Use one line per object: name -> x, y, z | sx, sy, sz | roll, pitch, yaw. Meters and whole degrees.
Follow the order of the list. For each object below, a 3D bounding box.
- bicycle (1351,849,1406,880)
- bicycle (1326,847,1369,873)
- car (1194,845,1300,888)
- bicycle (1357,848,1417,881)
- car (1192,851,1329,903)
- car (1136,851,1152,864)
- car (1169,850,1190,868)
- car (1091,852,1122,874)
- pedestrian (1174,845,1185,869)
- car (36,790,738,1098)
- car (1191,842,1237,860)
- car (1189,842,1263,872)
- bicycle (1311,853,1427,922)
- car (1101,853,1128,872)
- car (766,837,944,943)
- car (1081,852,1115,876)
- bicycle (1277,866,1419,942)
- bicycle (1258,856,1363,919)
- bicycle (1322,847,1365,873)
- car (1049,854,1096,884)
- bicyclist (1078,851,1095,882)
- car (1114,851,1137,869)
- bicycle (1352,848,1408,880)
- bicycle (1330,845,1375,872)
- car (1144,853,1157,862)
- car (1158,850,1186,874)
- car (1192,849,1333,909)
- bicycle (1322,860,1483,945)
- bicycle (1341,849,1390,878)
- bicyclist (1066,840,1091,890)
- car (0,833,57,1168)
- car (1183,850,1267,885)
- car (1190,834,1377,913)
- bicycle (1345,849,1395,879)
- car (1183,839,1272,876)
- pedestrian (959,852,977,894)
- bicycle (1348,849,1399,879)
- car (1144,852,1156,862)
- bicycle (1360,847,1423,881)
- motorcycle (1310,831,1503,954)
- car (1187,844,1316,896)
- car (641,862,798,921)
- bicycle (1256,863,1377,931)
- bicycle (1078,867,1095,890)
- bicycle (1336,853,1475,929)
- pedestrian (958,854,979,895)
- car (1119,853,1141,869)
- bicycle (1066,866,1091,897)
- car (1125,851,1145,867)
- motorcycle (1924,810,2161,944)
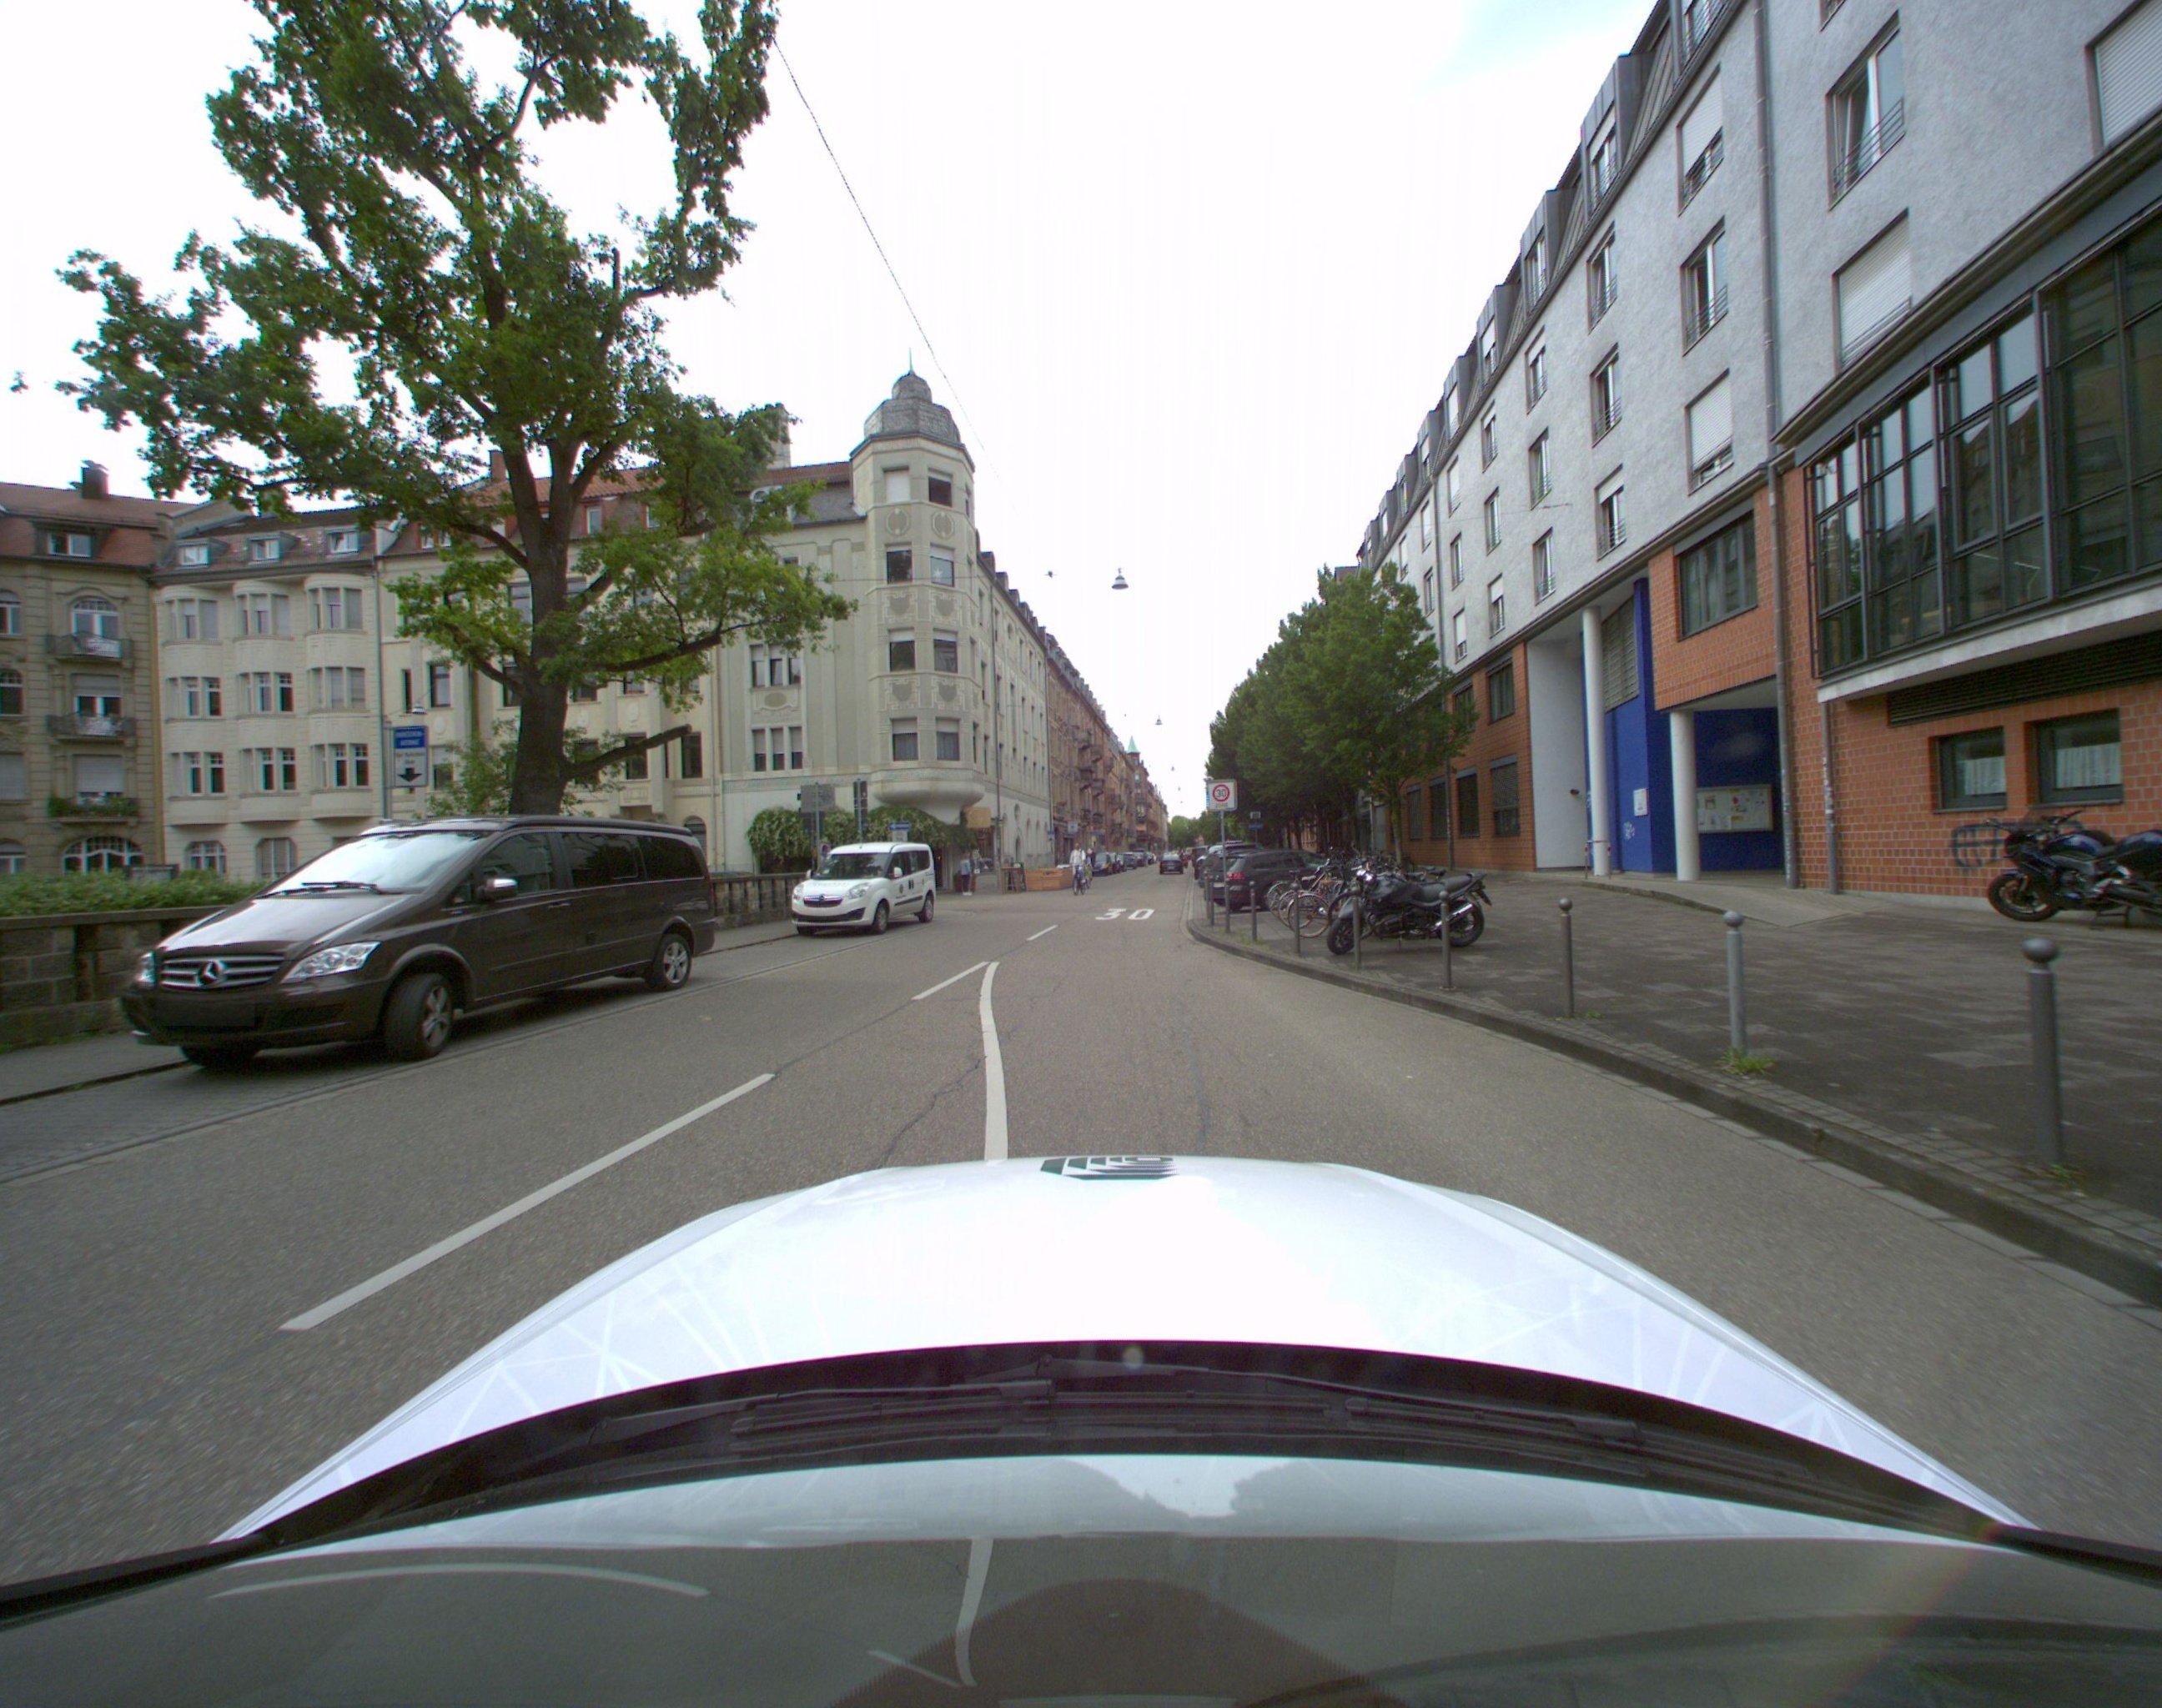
bicycle -> 11.083, 0.380, 30.403 | 1.826, 1.092, 0.566 | -2, -2, 7
bicycle -> 11.829, 0.286, 36.191 | 1.743, 1.092, 0.566 | -2, -2, 7
car -> 7.070, 0.514, 34.700 | 4.065, 1.585, 1.757 | -3, -1, -23
bicycle -> 10.806, 0.362, 28.818 | 1.885, 1.092, 0.544 | -2, -2, 7
car -> 5.781, 0.683, 26.217 | 3.991, 1.543, 1.861 | 0, 0, -24
car -> 8.417, 0.460, 108.564 | 1.933, 1.738, 3.951 | -2, 0, 8
car -> 10.112, 0.522, 83.660 | 1.983, 1.681, 4.007 | -2, -1, 7
car -> 2.019, 0.664, 63.213 | 1.933, 1.617, 3.951 | -1, 0, 8
pedestrian -> 8.848, 0.294, 73.428 | 0.886, 2.146, 1.030 | -2, -2, 6
car -> -5.781, 0.608, 8.026 | 2.002, 2.014, 5.194 | -2, 0, 7
car -> 16.515, -0.406, 101.351 | 5.408, 1.868, 1.936 | -3, -1, -22
car -> 11.030, 0.234, 61.810 | 5.416, 1.992, 1.933 | -3, -1, -27
bicycle -> 5.297, 0.616, 15.051 | 1.875, 1.141, 0.612 | -3, -2, 4
car -> 2.945, 0.724, 70.263 | 1.934, 1.617, 3.950 | -1, 0, 7
car -> -4.611, 0.656, 17.421 | 1.832, 1.939, 4.560 | -2, 0, 10
car -> 1.216, 0.665, 57.785 | 1.933, 1.617, 3.951 | -1, 0, 8
bicycle -> 4.059, 0.756, 12.476 | 1.920, 1.043, 0.612 | -3, -2, 4
bicycle -> 4.534, 0.661, 16.182 | 1.875, 1.141, 0.612 | -3, -2, 4
bicycle -> 11.885, 0.286, 36.928 | 1.743, 1.092, 0.566 | -2, -2, 7
car -> -0.433, 0.832, 46.553 | 1.932, 1.553, 3.828 | -3, -1, 10
bicyclist -> 0.244, 0.567, 36.649 | 0.665, 1.399, 0.784 | -2, -2, 5
car -> 4.345, 0.570, 79.297 | 1.934, 1.617, 3.950 | -2, 0, 7
bicycle -> 10.860, 0.379, 29.628 | 1.826, 1.092, 0.544 | -2, -2, 7
bicycle -> 11.747, 0.199, 35.327 | 1.743, 1.092, 0.566 | -2, -2, 7
car -> 10.542, 0.572, 123.381 | 1.984, 1.321, 4.004 | -2, -1, 4
car -> 6.829, 0.654, 61.219 | 1.983, 1.681, 4.007 | -2, -1, 7
car -> 5.168, 0.665, 23.207 | 3.575, 1.499, 1.829 | -2, 0, -28
bicycle -> 4.554, 0.684, 11.632 | 2.000, 1.062, 0.612 | -3, -2, 4
bicycle -> 11.301, 0.386, 32.415 | 1.743, 1.092, 0.566 | -2, -2, 7
bicyclist -> -0.109, 0.411, 31.120 | 0.777, 1.866, 0.716 | -2, 0, 9
car -> -6.635, 0.789, 2.205 | 1.833, 1.688, 4.442 | -2, 0, 7
car -> 7.097, 0.658, 40.029 | 3.878, 1.505, 1.753 | -3, -1, -33
car -> 5.108, 0.464, 20.503 | 4.296, 1.578, 1.848 | -4, 0, -26
bicycle -> 11.275, 0.394, 31.806 | 1.743, 1.092, 0.566 | -2, -2, 7
car -> 9.695, 0.213, 53.795 | 5.637, 2.127, 1.933 | -3, -1, -27
pedestrian -> -4.699, 0.780, 33.836 | 0.582, 1.735, 0.501 | -1, -2, -28
bicycle -> 11.135, 0.375, 31.033 | 1.743, 1.092, 0.566 | -2, -2, 7
car -> 11.138, 0.534, 131.381 | 1.984, 1.499, 4.004 | -2, -1, 4
bicycle -> 10.729, 0.351, 28.216 | 1.922, 1.092, 0.578 | -2, -2, 7
motorcycle -> 4.186, 0.495, 10.618 | 2.124, 1.429, 0.771 | -3, -2, 4
car -> 6.028, 0.561, 28.851 | 4.065, 1.585, 1.888 | -3, -1, -24
car -> -11.202, 1.154, 25.376 | 4.037, 1.607, 1.771 | -3, -1, 5
bicycle -> 4.054, 0.735, 14.123 | 1.875, 1.043, 0.612 | -3, -2, 4
bicycle -> 0.263, 1.096, 36.628 | 0.532, 0.977, 1.869 | -2, -1, 7
bicycle -> 5.160, 0.585, 13.036 | 1.920, 1.077, 0.612 | -3, -2, 4
pedestrian -> -4.547, 0.827, 33.052 | 0.573, 1.660, 0.579 | -3, -2, 29
car -> 5.175, 0.766, 85.527 | 1.934, 1.617, 3.950 | -1, 0, 7
bicycle -> -0.080, 1.030, 30.869 | 0.564, 1.087, 1.992 | -2, 0, 9
car -> 6.020, 0.568, 91.081 | 1.933, 1.742, 3.951 | -1, 0, 8
motorcycle -> 10.422, 0.190, 8.521 | 1.022, 1.202, 2.213 | -3, 0, 7
